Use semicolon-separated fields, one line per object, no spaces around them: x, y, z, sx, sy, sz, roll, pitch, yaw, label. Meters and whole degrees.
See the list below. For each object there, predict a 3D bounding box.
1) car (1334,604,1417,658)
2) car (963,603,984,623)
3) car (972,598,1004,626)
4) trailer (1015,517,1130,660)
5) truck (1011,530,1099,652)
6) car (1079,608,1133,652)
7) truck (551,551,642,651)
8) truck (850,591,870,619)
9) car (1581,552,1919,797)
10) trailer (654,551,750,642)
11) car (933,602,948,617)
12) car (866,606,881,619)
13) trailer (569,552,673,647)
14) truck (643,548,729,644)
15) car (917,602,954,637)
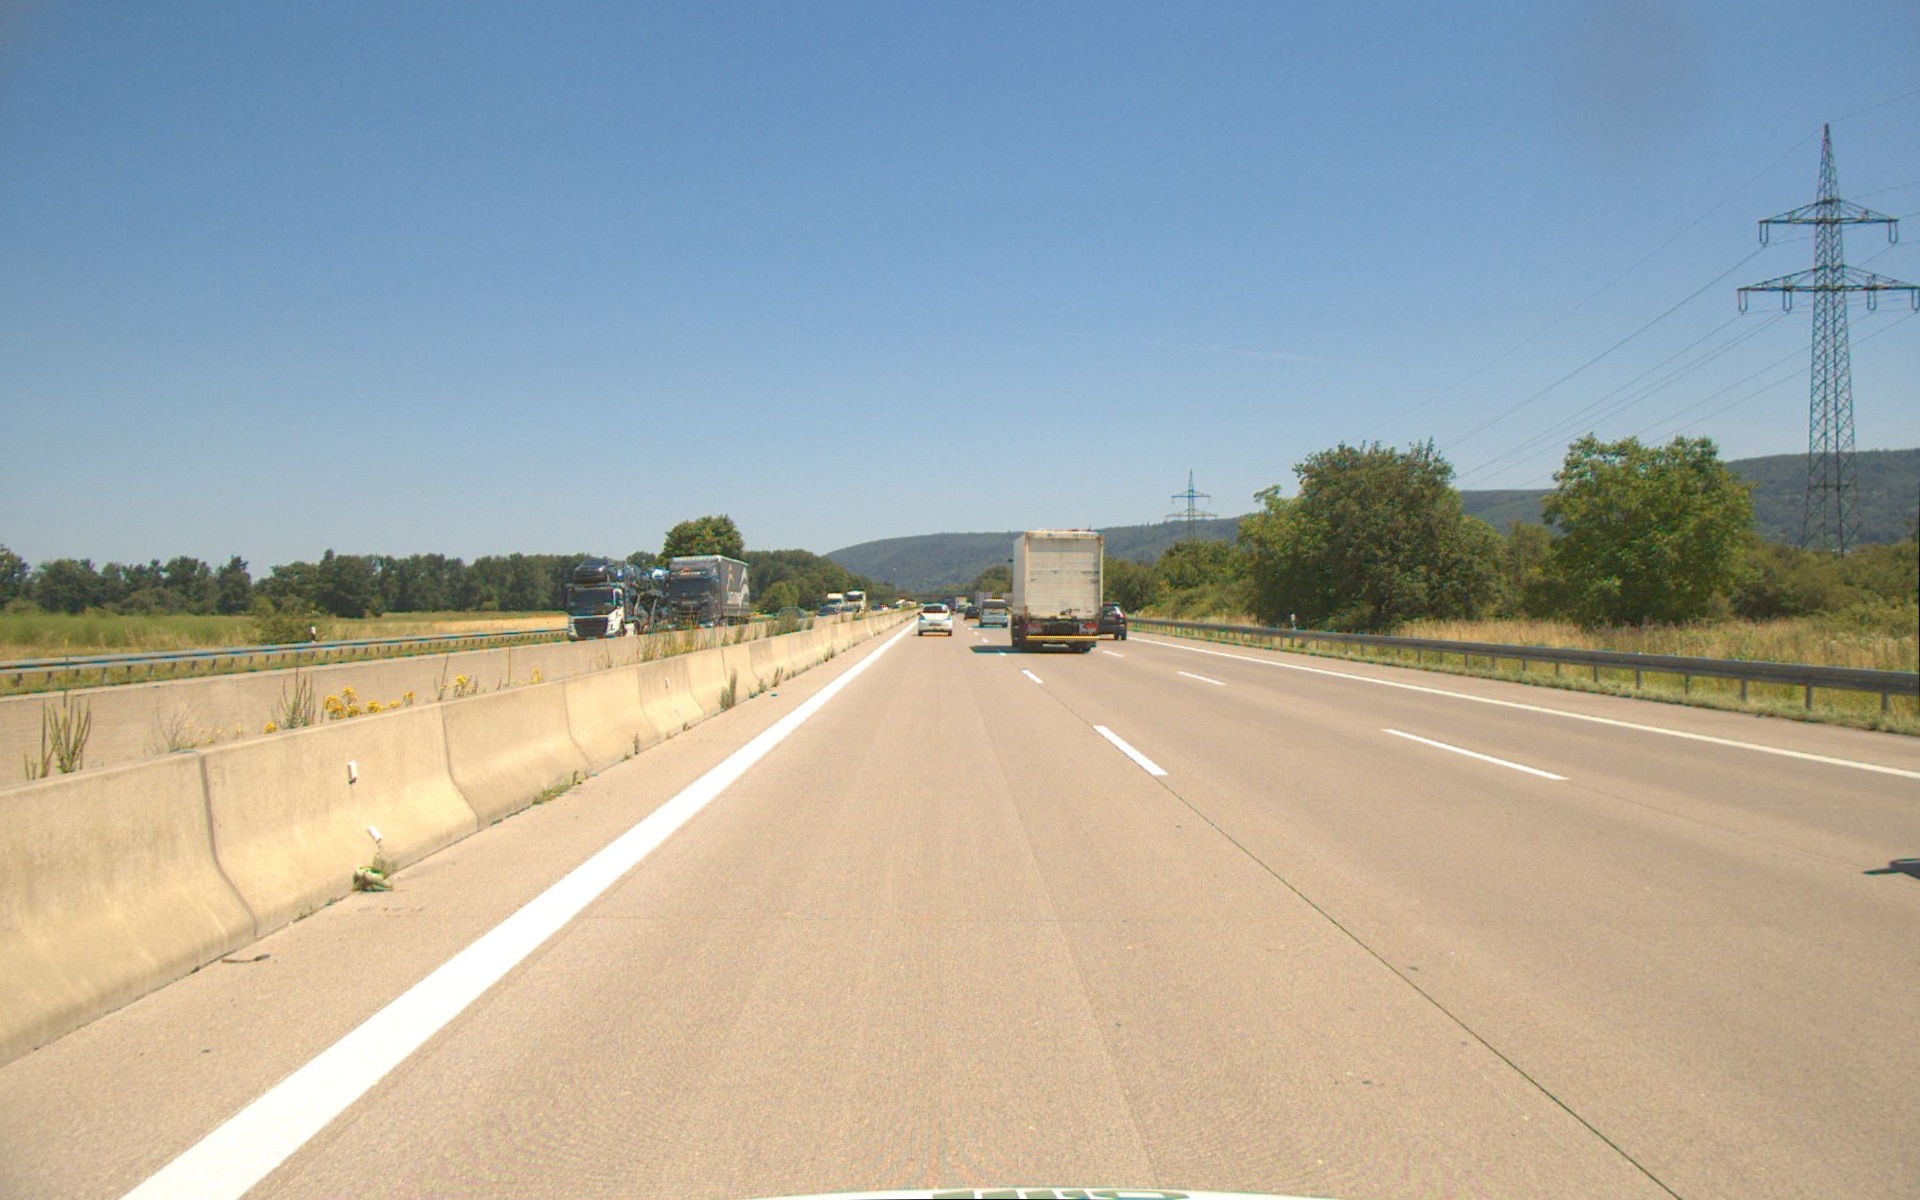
15.518;1.126;62.028;1.953;1.881;3.999;3;0;-1;car
1.344;1.304;168.186;1.953;1.881;3.999;3;0;-1;car
1.921;0.812;114.580;1.953;1.881;3.999;1;0;-1;car
3.330;-0.297;51.541;2.529;3.945;10.369;1;0;-2;trailer
3.205;-0.276;56.801;2.529;3.945;4.982;1;0;-2;truck
6.688;1.359;76.076;1.953;1.881;3.999;3;0;-1;car
-17.976;0.059;82.237;3.166;4.687;6.249;1;0;-1;truck
-15.058;0.778;249.441;2.842;4.039;5.044;1;0;-1;truck
7.464;0.618;15.095;1.953;1.881;3.999;3;0;-1;car
-13.980;-0.154;90.956;3.201;4.554;14.447;-1;0;-1;trailer
-2.654;1.302;226.287;1.953;1.881;3.999;3;0;-1;car
-11.975;1.689;229.008;1.825;1.759;4.140;1;0;0;car
-18.084;-0.011;89.075;3.166;4.687;12.290;1;0;-1;trailer
-13.755;-0.181;83.637;3.201;4.554;7.187;-1;0;-1;truck
-1.235;0.956;81.420;1.783;1.691;3.998;0;0;-2;car
